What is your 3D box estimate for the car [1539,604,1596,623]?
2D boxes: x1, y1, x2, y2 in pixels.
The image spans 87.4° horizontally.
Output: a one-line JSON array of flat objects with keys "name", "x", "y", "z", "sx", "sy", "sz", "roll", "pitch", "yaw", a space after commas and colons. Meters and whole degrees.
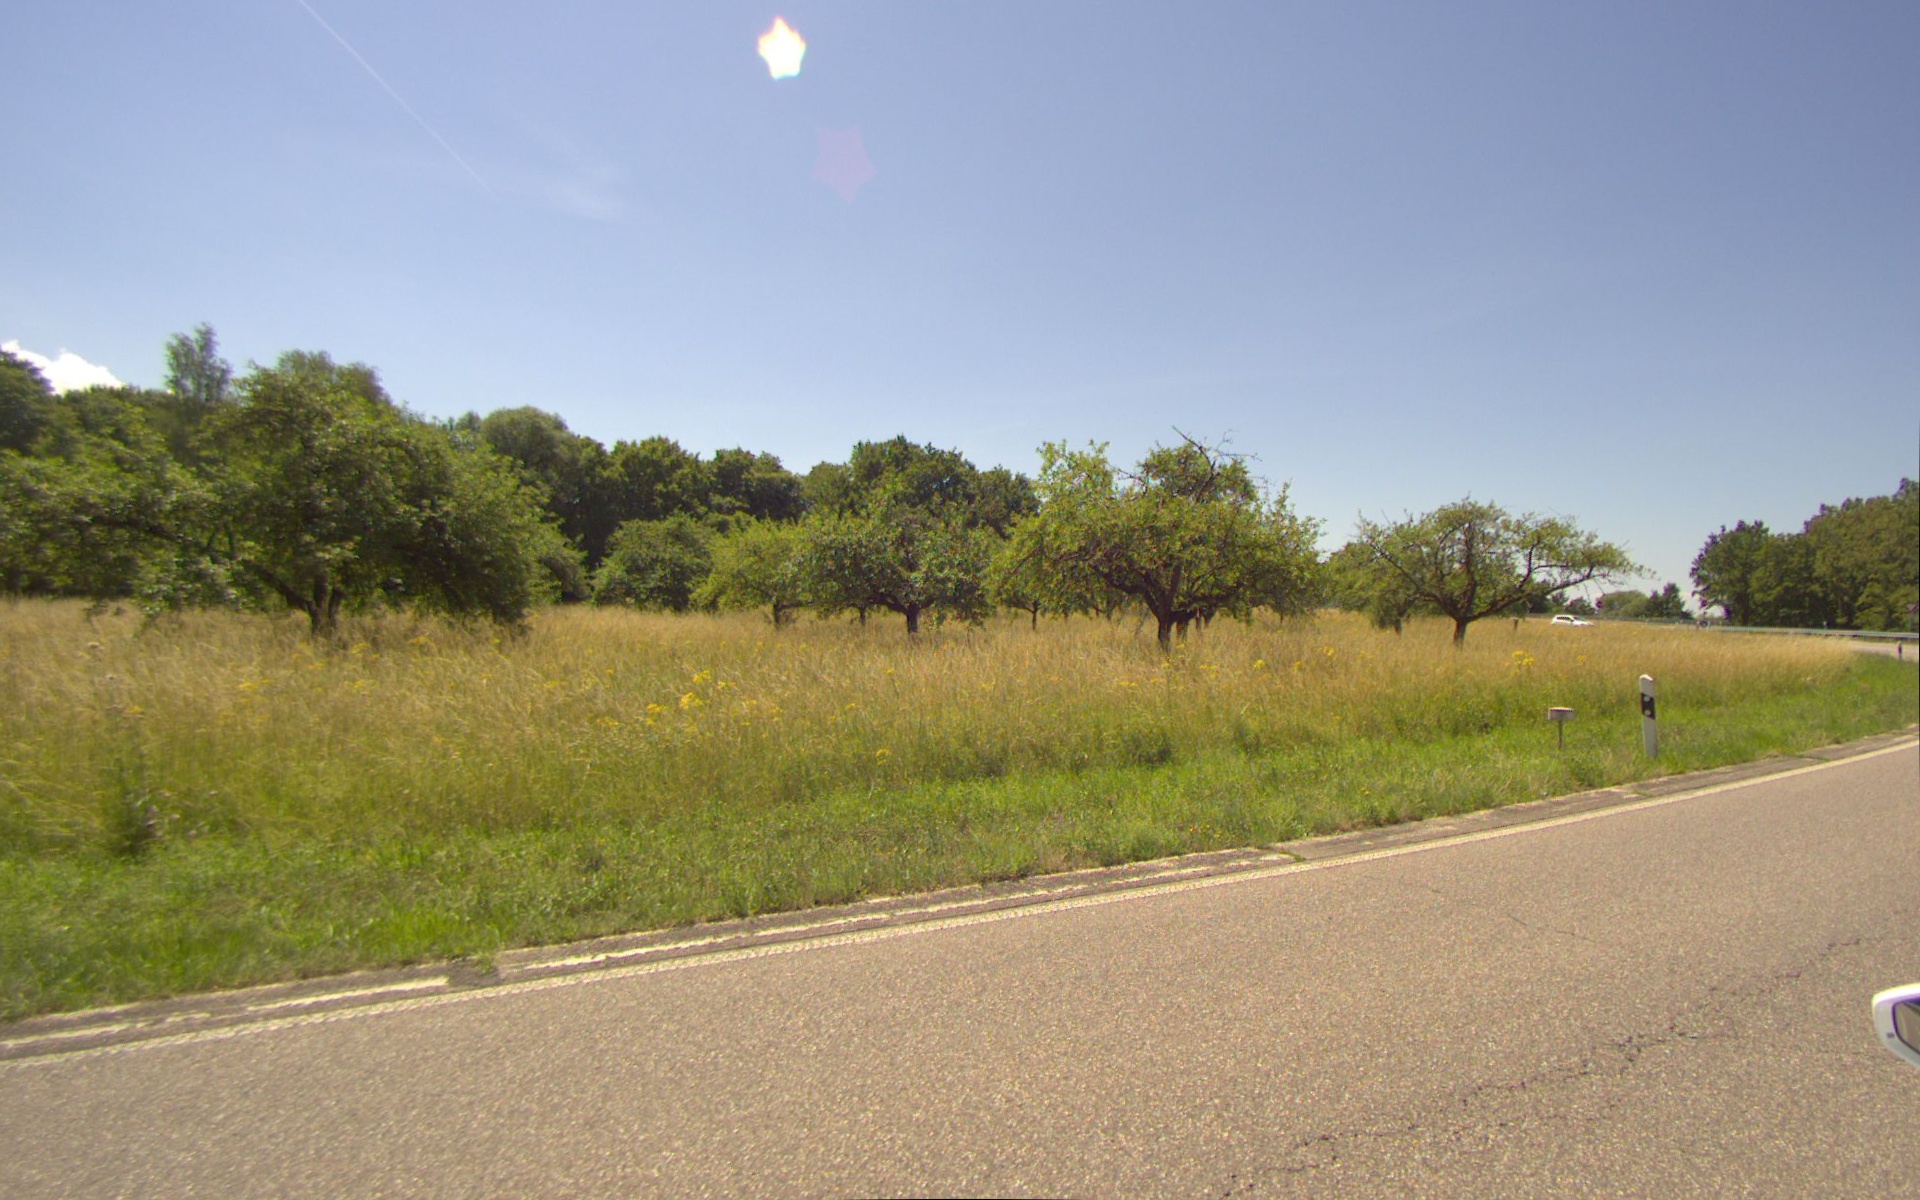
[{"name": "car", "x": 56.134, "y": 1.210, "z": 92.825, "sx": 1.810, "sy": 1.527, "sz": 4.129, "roll": -5, "pitch": 3, "yaw": -36}]
